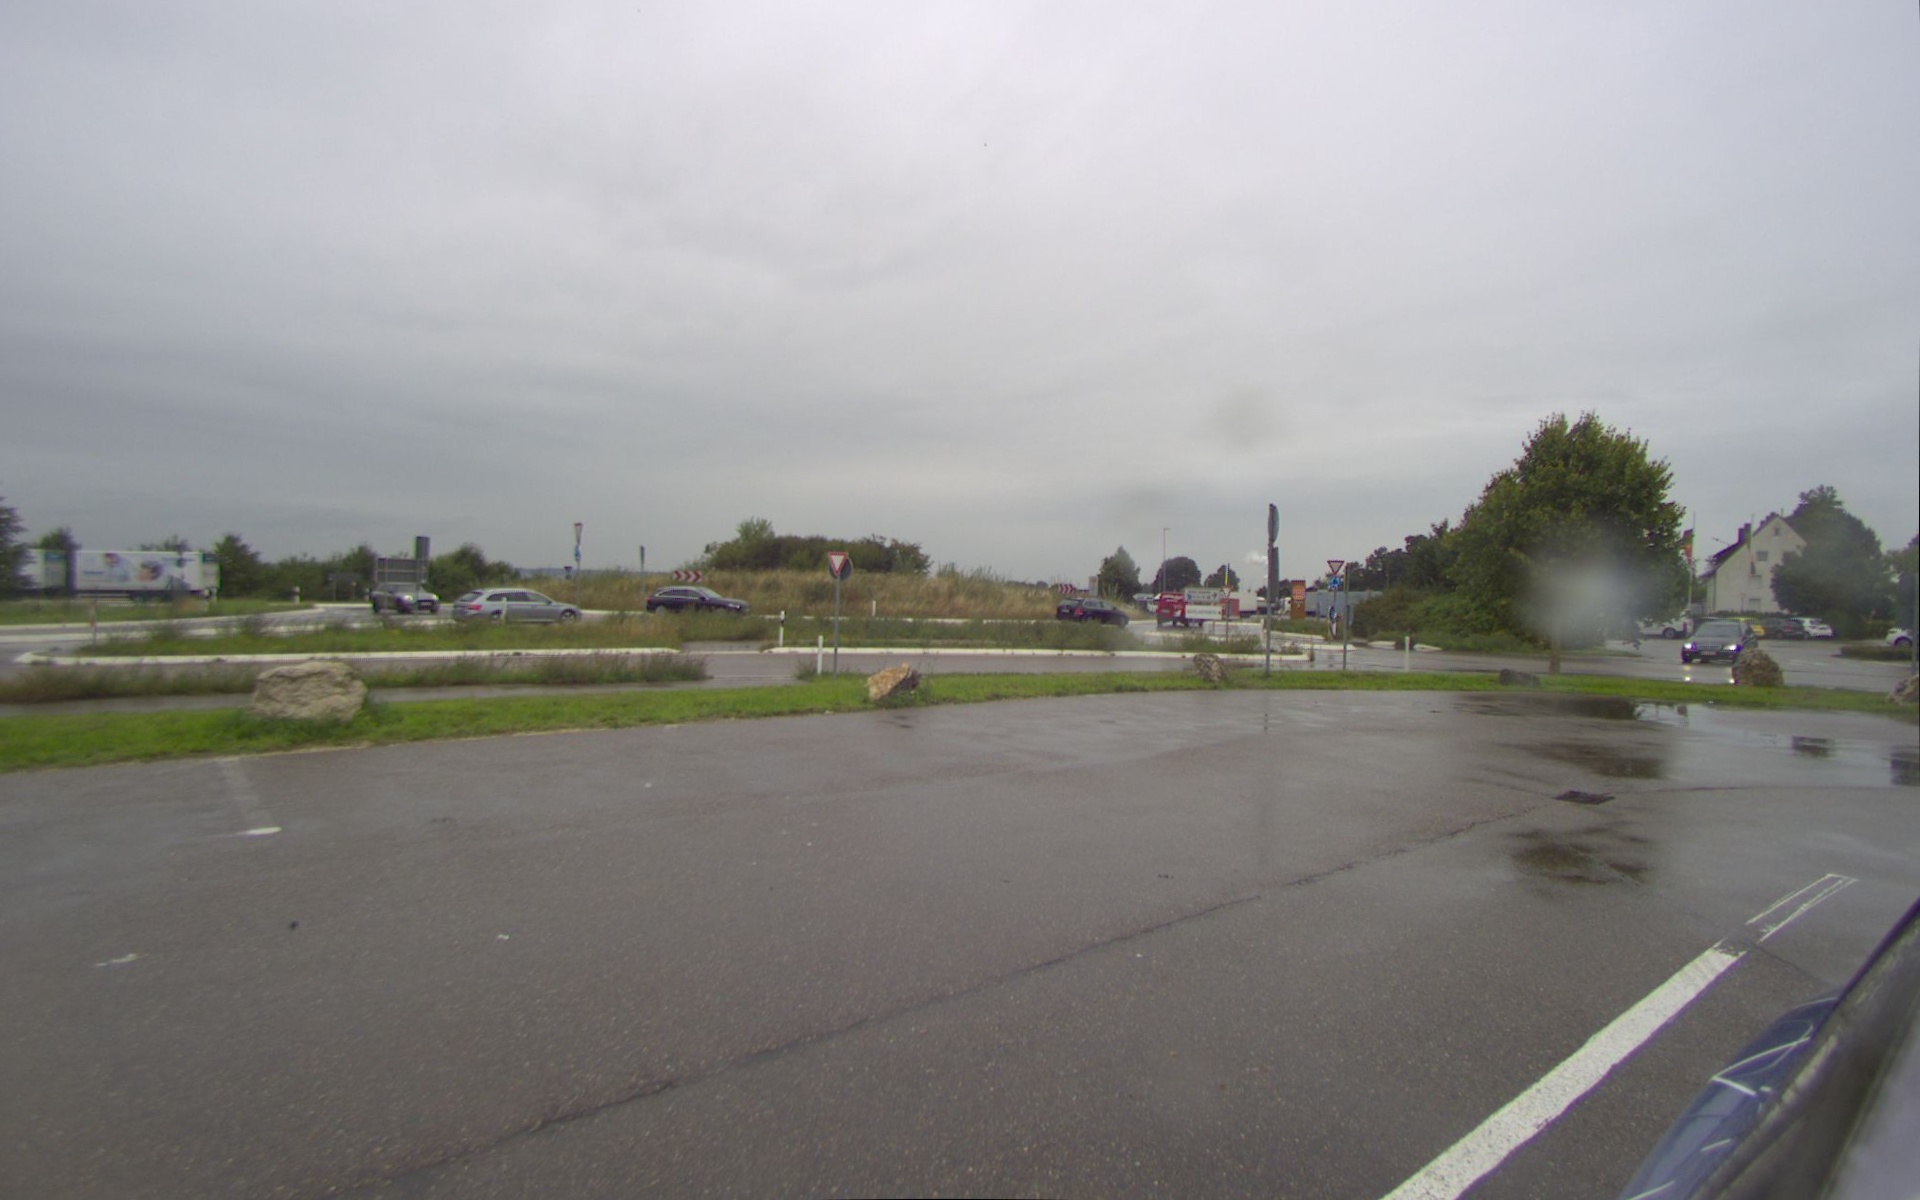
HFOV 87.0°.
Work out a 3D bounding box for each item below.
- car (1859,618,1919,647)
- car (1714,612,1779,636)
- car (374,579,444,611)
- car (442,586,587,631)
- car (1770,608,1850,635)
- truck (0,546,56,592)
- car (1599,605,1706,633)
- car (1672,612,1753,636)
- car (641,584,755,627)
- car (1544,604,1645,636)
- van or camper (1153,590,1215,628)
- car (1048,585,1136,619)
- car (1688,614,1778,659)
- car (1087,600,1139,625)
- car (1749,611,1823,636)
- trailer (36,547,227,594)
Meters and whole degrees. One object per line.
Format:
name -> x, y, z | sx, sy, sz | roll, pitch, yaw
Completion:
car -> 49.748, 1.716, 52.658 | 1.819, 1.443, 4.350 | 1, 0, -43
car -> 53.609, 1.603, 69.071 | 1.636, 1.569, 3.723 | 1, -1, 2
car -> -27.182, -0.290, 49.865 | 4.294, 1.340, 1.730 | 4, 3, 42
car -> -16.755, 0.327, 38.237 | 1.993, 1.500, 4.592 | 3, 1, 41
car -> 58.311, 1.447, 69.502 | 1.951, 1.750, 4.002 | 1, -1, -4
truck -> -64.540, -2.060, 66.375 | 7.627, 2.945, 2.188 | 1, -1, -15
car -> 44.358, 1.190, 64.921 | 1.966, 1.744, 5.367 | 2, -1, -42
car -> 51.087, 1.602, 68.828 | 1.962, 1.570, 4.647 | 1, -1, 0
car -> -11.645, 0.220, 45.131 | 4.581, 1.704, 1.893 | 2, 2, 0
car -> 36.698, 1.123, 58.606 | 1.966, 1.744, 4.600 | 2, -1, -42
van or camper -> 13.220, 0.511, 59.512 | 1.985, 2.038, 4.792 | 4, 2, 32
car -> 6.701, 0.098, 51.106 | 4.446, 1.623, 1.996 | 0, 0, -42
car -> 28.245, 1.294, 36.944 | 4.283, 1.443, 1.704 | -1, 0, -40
car -> 12.569, 1.021, 83.283 | 1.962, 2.039, 3.999 | 1, -1, -35
car -> 56.084, 1.592, 68.805 | 1.715, 1.590, 3.890 | 1, -1, -3
trailer -> -56.025, -1.969, 68.690 | 9.929, 2.939, 2.211 | 1, -1, -15
